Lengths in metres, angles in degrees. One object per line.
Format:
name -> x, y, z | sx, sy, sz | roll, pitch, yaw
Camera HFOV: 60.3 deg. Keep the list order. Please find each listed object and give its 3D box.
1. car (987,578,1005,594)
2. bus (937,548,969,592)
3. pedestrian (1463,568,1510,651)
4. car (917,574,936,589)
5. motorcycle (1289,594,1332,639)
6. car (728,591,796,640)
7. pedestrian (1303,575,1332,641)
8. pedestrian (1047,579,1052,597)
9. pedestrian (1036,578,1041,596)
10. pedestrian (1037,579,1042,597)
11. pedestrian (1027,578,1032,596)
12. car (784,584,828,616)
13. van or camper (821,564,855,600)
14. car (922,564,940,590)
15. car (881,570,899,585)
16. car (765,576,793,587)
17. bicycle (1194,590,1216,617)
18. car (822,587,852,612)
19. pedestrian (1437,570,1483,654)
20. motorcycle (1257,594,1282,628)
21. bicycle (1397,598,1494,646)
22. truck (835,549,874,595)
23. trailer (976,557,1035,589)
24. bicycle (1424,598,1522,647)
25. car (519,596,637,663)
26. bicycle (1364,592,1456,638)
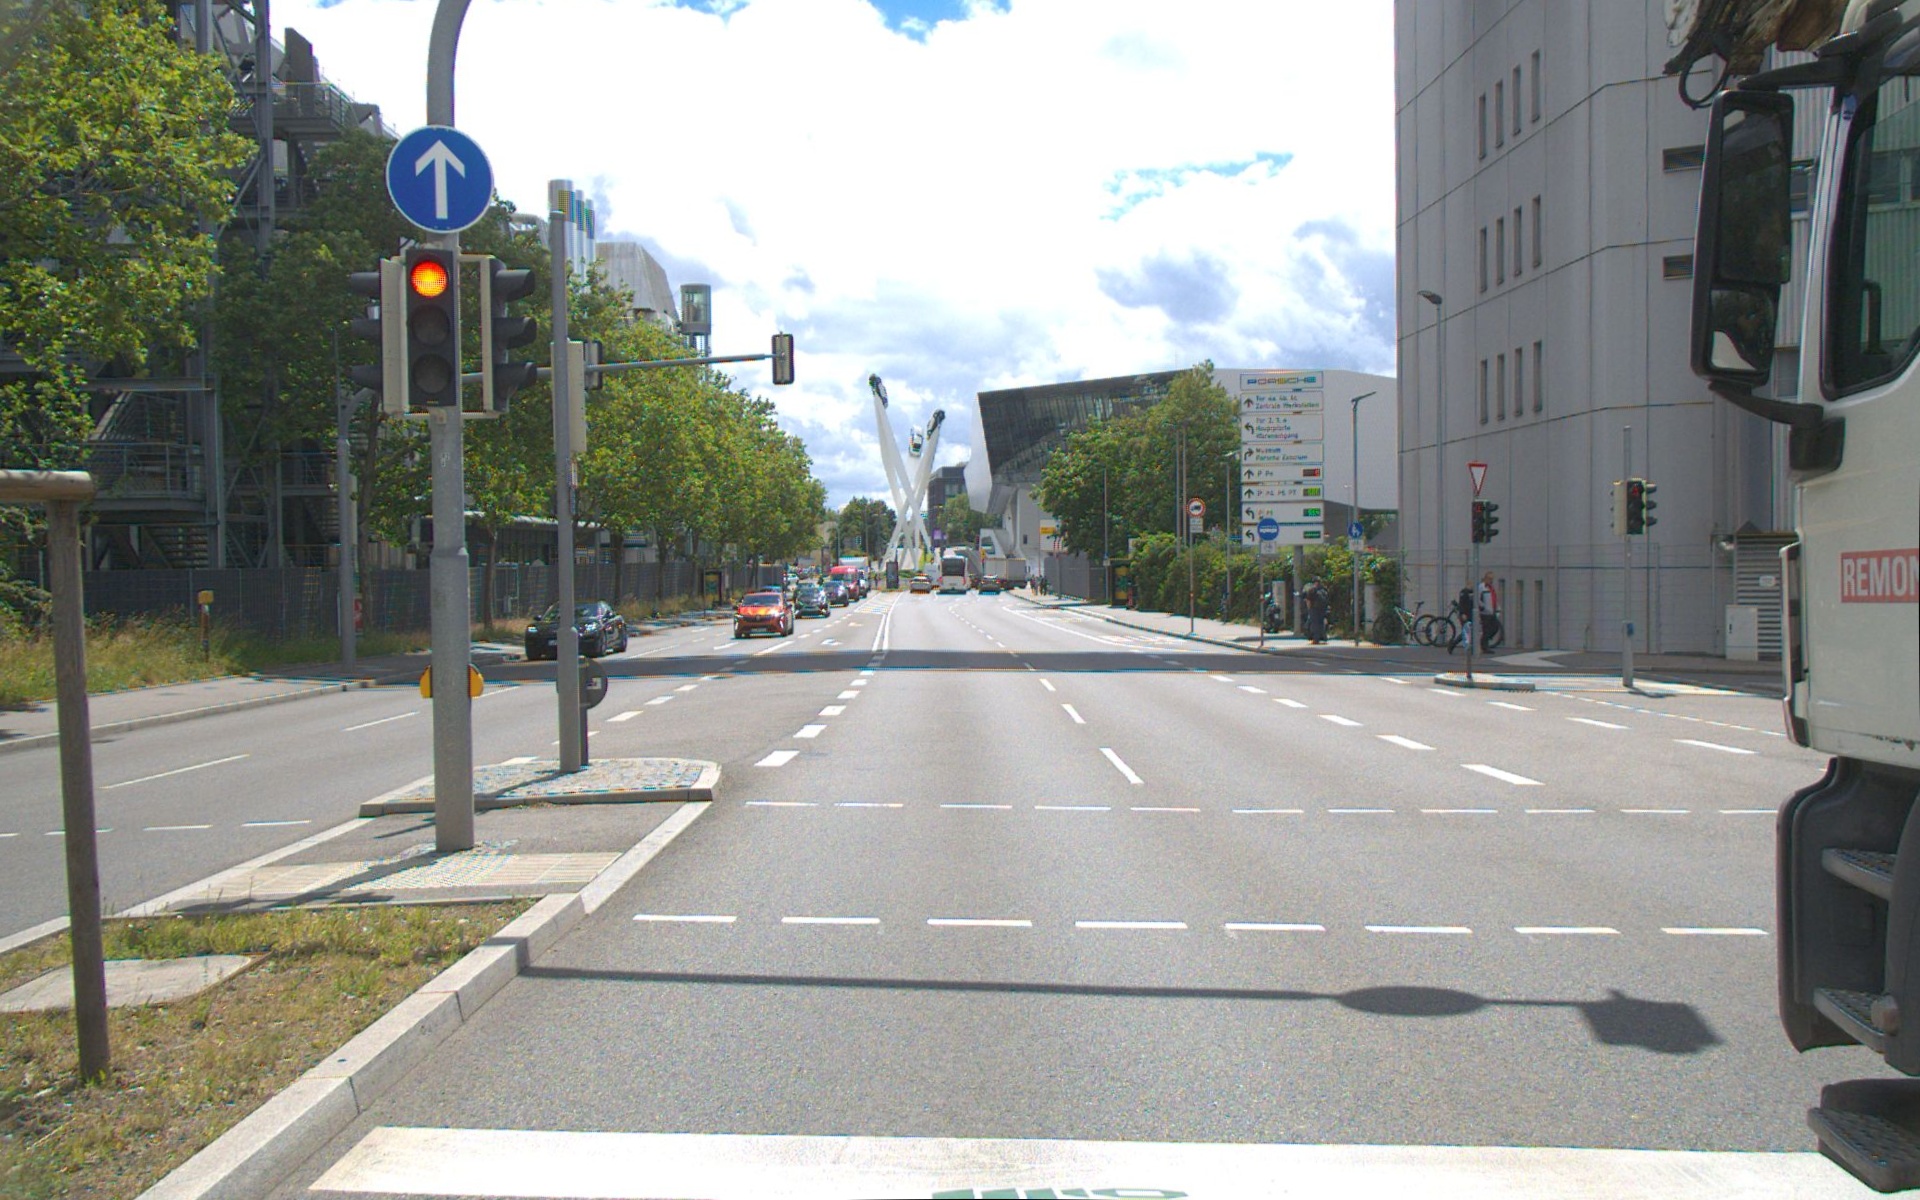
car -> 3.151, -1.261, 146.213 | 1.525, 1.295, 3.701 | -2, 0, 1
bus -> -0.612, -2.671, 150.002 | 2.730, 3.750, 6.942 | 1, 0, 0
pedestrian -> 11.800, 0.216, 37.085 | 0.688, 1.825, 0.701 | -3, 1, -43
car -> -3.021, -1.687, 148.635 | 1.525, 1.295, 3.701 | -2, 0, 1
motorcycle -> 9.553, 0.439, 45.165 | 0.410, 1.186, 1.951 | 1, 0, -11
car -> -6.444, 0.481, 54.154 | 1.733, 1.445, 3.701 | -2, 0, 0
pedestrian -> 9.172, 0.215, 42.471 | 0.523, 1.669, 0.657 | 1, -1, -6
pedestrian -> 7.263, -0.980, 134.810 | 0.378, 1.446, 0.423 | 1, -1, 0
pedestrian -> 6.489, -1.086, 136.409 | 0.378, 1.446, 0.423 | 1, -1, 0
pedestrian -> 6.466, -0.976, 134.758 | 0.378, 1.446, 0.423 | 1, -1, 0
pedestrian -> 5.751, -1.080, 137.222 | 0.378, 1.446, 0.423 | 1, -1, 0
car -> -7.394, -0.021, 79.883 | 1.733, 1.445, 3.701 | -2, 0, 0
van or camper -> -8.650, -1.254, 117.368 | 2.005, 2.509, 5.594 | 0, 0, 0
car -> -2.961, -2.370, 171.022 | 1.806, 2.669, 3.999 | 1, 0, -1
car -> -6.554, -2.108, 155.359 | 1.525, 1.295, 3.701 | -2, 0, 0
car -> -24.228, -2.443, 221.747 | 1.535, 1.295, 3.678 | -2, 1, 43
bicycle -> 9.675, 0.141, 65.412 | 0.410, 1.040, 1.910 | 1, 0, -5
car -> -7.625, -0.062, 102.797 | 1.525, 1.473, 3.772 | -2, 0, 0
pedestrian -> 11.078, 0.262, 36.632 | 0.638, 1.825, 0.700 | -3, 1, -45
motorcycle -> 9.745, 0.357, 52.152 | 0.448, 1.040, 1.913 | 1, 0, 1
bicycle -> 11.643, 0.516, 39.711 | 2.180, 1.105, 0.475 | 1, -1, 35
truck -> -8.287, -2.168, 130.750 | 2.538, 3.382, 7.078 | 1, 0, 0
trailer -> 4.840, -2.786, 172.214 | 3.250, 3.047, 10.380 | 1, 0, 18
bicycle -> 12.011, 0.518, 38.763 | 2.149, 1.105, 0.475 | 1, -1, 35
car -> -9.804, 0.721, 42.787 | 1.878, 1.514, 4.772 | -2, 0, 0
bicycle -> 11.158, 0.373, 41.036 | 2.180, 1.105, 0.475 | 1, -1, 35
